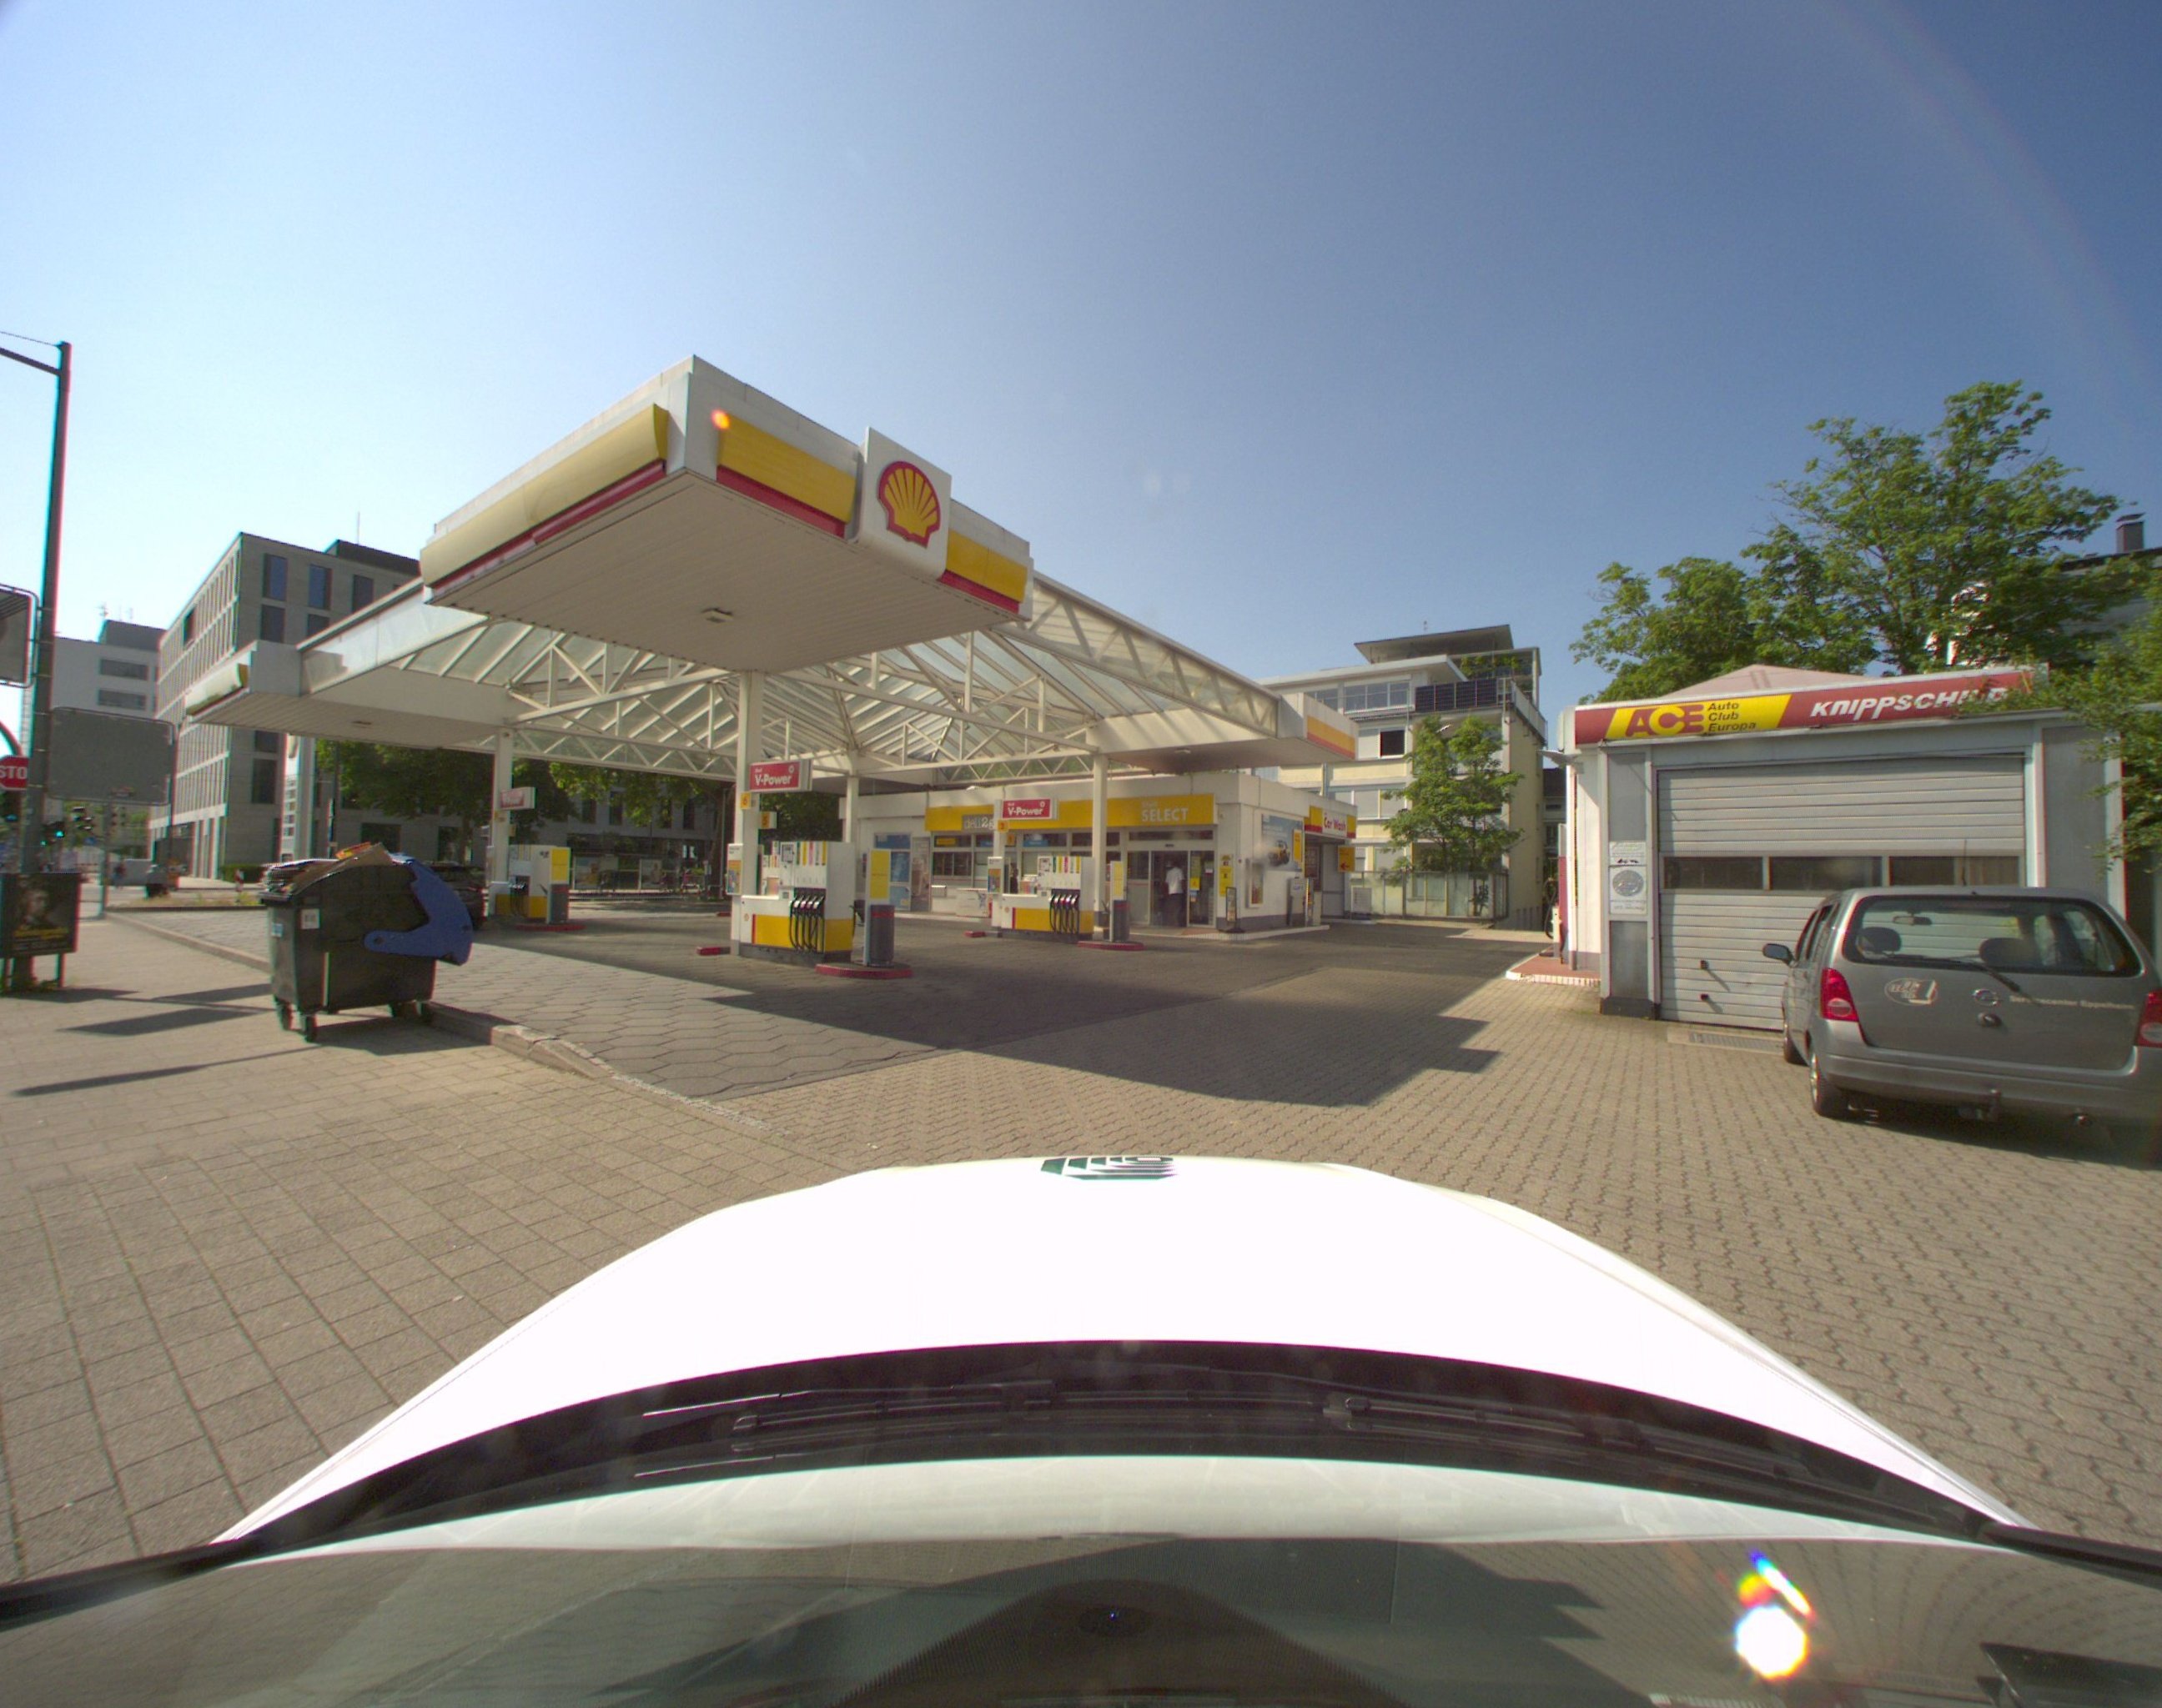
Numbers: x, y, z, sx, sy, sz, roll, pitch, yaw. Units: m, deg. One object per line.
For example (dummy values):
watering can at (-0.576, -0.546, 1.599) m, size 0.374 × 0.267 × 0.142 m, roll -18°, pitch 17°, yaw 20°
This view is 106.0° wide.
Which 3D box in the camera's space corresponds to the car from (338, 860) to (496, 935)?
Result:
car at (-15.236, 0.934, 18.636) m, size 3.948 × 1.532 × 1.760 m, roll -1°, pitch -1°, yaw 35°

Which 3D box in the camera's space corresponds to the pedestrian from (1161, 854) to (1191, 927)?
pedestrian at (2.708, 1.030, 23.135) m, size 0.615 × 2.014 × 0.747 m, roll 0°, pitch -2°, yaw 27°

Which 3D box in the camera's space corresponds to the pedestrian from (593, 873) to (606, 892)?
pedestrian at (-28.320, 1.677, 47.880) m, size 0.517 × 1.138 × 0.503 m, roll -1°, pitch -3°, yaw 42°

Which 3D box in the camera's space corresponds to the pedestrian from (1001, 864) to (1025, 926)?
pedestrian at (-1.952, 1.171, 23.361) m, size 0.525 × 1.762 × 0.575 m, roll 1°, pitch -2°, yaw 9°

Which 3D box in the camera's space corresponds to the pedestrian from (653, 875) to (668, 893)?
pedestrian at (-26.261, 1.877, 50.898) m, size 0.517 × 1.138 × 0.634 m, roll -1°, pitch -3°, yaw 42°

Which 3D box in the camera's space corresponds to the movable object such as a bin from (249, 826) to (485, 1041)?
movable object such as a bin at (-6.408, 0.625, 7.332) m, size 1.320 × 1.688 × 1.351 m, roll -1°, pitch 0°, yaw 37°

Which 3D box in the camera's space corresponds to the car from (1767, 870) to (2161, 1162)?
car at (6.644, 1.023, 6.462) m, size 1.670 × 1.617 × 3.684 m, roll -1°, pitch -4°, yaw 38°
